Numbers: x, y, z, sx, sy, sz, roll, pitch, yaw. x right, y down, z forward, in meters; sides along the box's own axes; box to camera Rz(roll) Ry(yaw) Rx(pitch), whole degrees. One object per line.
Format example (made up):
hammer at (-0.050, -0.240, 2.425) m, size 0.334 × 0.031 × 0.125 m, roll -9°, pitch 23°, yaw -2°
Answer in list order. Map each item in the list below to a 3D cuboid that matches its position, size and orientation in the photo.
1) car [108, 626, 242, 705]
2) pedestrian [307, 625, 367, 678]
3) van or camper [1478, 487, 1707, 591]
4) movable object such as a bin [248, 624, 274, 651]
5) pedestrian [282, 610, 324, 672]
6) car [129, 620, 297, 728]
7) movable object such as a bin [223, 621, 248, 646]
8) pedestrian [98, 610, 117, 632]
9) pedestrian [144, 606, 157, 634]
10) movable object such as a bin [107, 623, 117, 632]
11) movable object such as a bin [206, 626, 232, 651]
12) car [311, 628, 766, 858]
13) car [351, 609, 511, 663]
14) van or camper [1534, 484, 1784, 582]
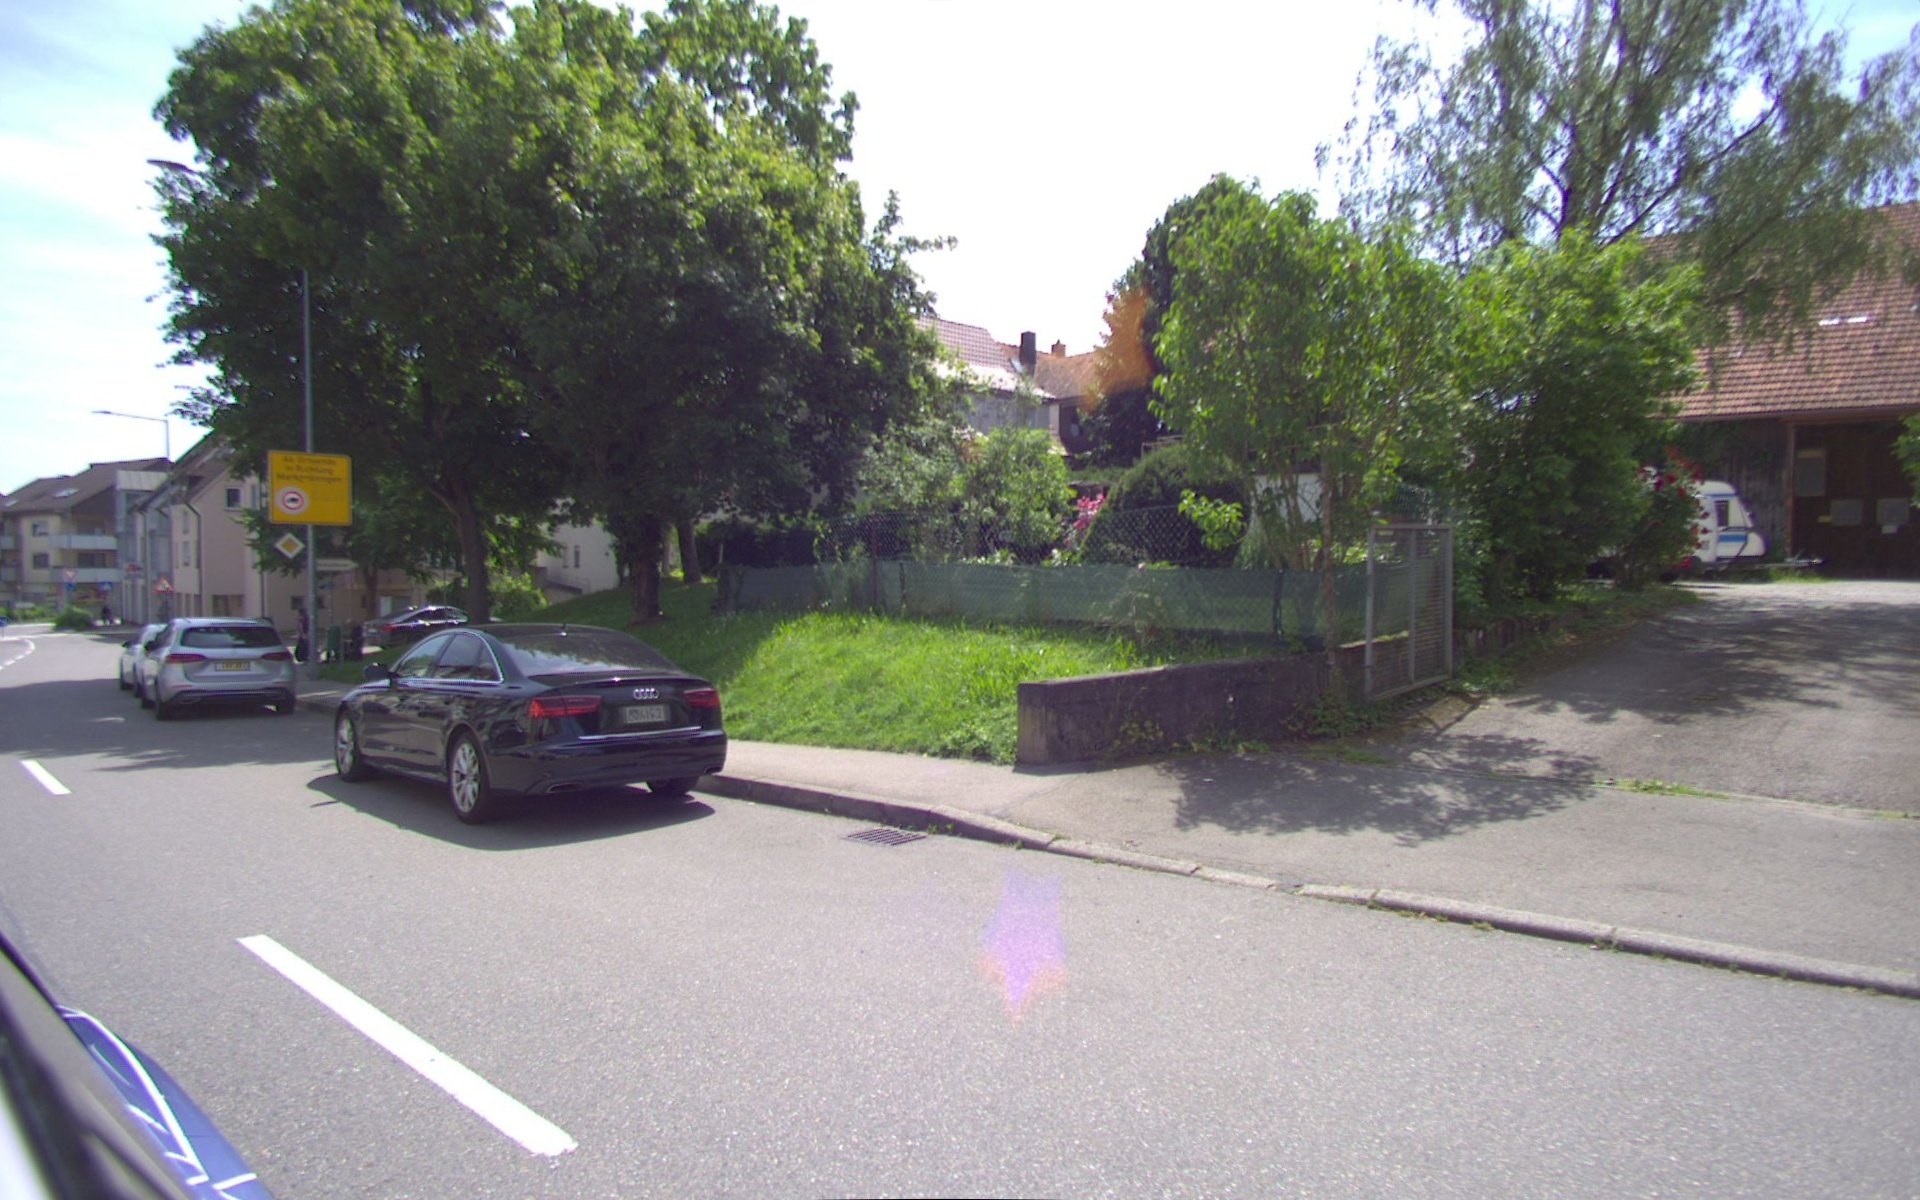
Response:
car at (-16.527, 1.293, 21.229) m, size 1.734 × 1.478 × 4.366 m, roll 2°, pitch -3°, yaw -44°
pedestrian at (-16.254, 1.321, 26.404) m, size 1.221 × 1.278 × 0.647 m, roll -2°, pitch 1°, yaw -40°
van or camper at (14.196, -1.289, 22.836) m, size 1.971 × 2.029 × 4.003 m, roll -3°, pitch 1°, yaw -44°
movable object such as a bin at (-29.190, 1.552, 42.275) m, size 0.762 × 1.007 × 0.610 m, roll -5°, pitch 5°, yaw -40°
pedestrian at (-17.823, 1.108, 27.457) m, size 0.626 × 1.628 × 0.726 m, roll -1°, pitch 0°, yaw 27°
car at (-12.409, 1.127, 16.704) m, size 1.751 × 1.539 × 4.226 m, roll 2°, pitch -3°, yaw -42°
movable object such as a bin at (-31.430, 1.455, 43.892) m, size 0.790 × 1.008 × 0.806 m, roll -3°, pitch 1°, yaw -41°
pedestrian at (-58.989, 1.473, 69.999) m, size 0.955 × 1.489 × 0.793 m, roll -1°, pitch 1°, yaw 36°
pedestrian at (-51.256, 1.265, 64.053) m, size 0.568 × 1.722 × 0.580 m, roll -3°, pitch 1°, yaw -42°
movable object such as a bin at (-58.599, 1.917, 69.921) m, size 0.468 × 0.586 × 0.453 m, roll -1°, pitch 1°, yaw 36°
movable object such as a bin at (-31.733, 1.648, 43.318) m, size 0.841 × 1.008 × 0.695 m, roll -1°, pitch 0°, yaw -41°
car at (-3.865, 0.990, 8.712) m, size 4.928 × 1.434 × 1.784 m, roll -2°, pitch -3°, yaw 44°
car at (-18.681, 1.225, 35.981) m, size 1.990 × 1.490 × 4.747 m, roll -1°, pitch 3°, yaw 28°
van or camper at (16.904, -1.547, 24.755) m, size 4.805 × 2.029 × 1.977 m, roll -2°, pitch 1°, yaw 34°
